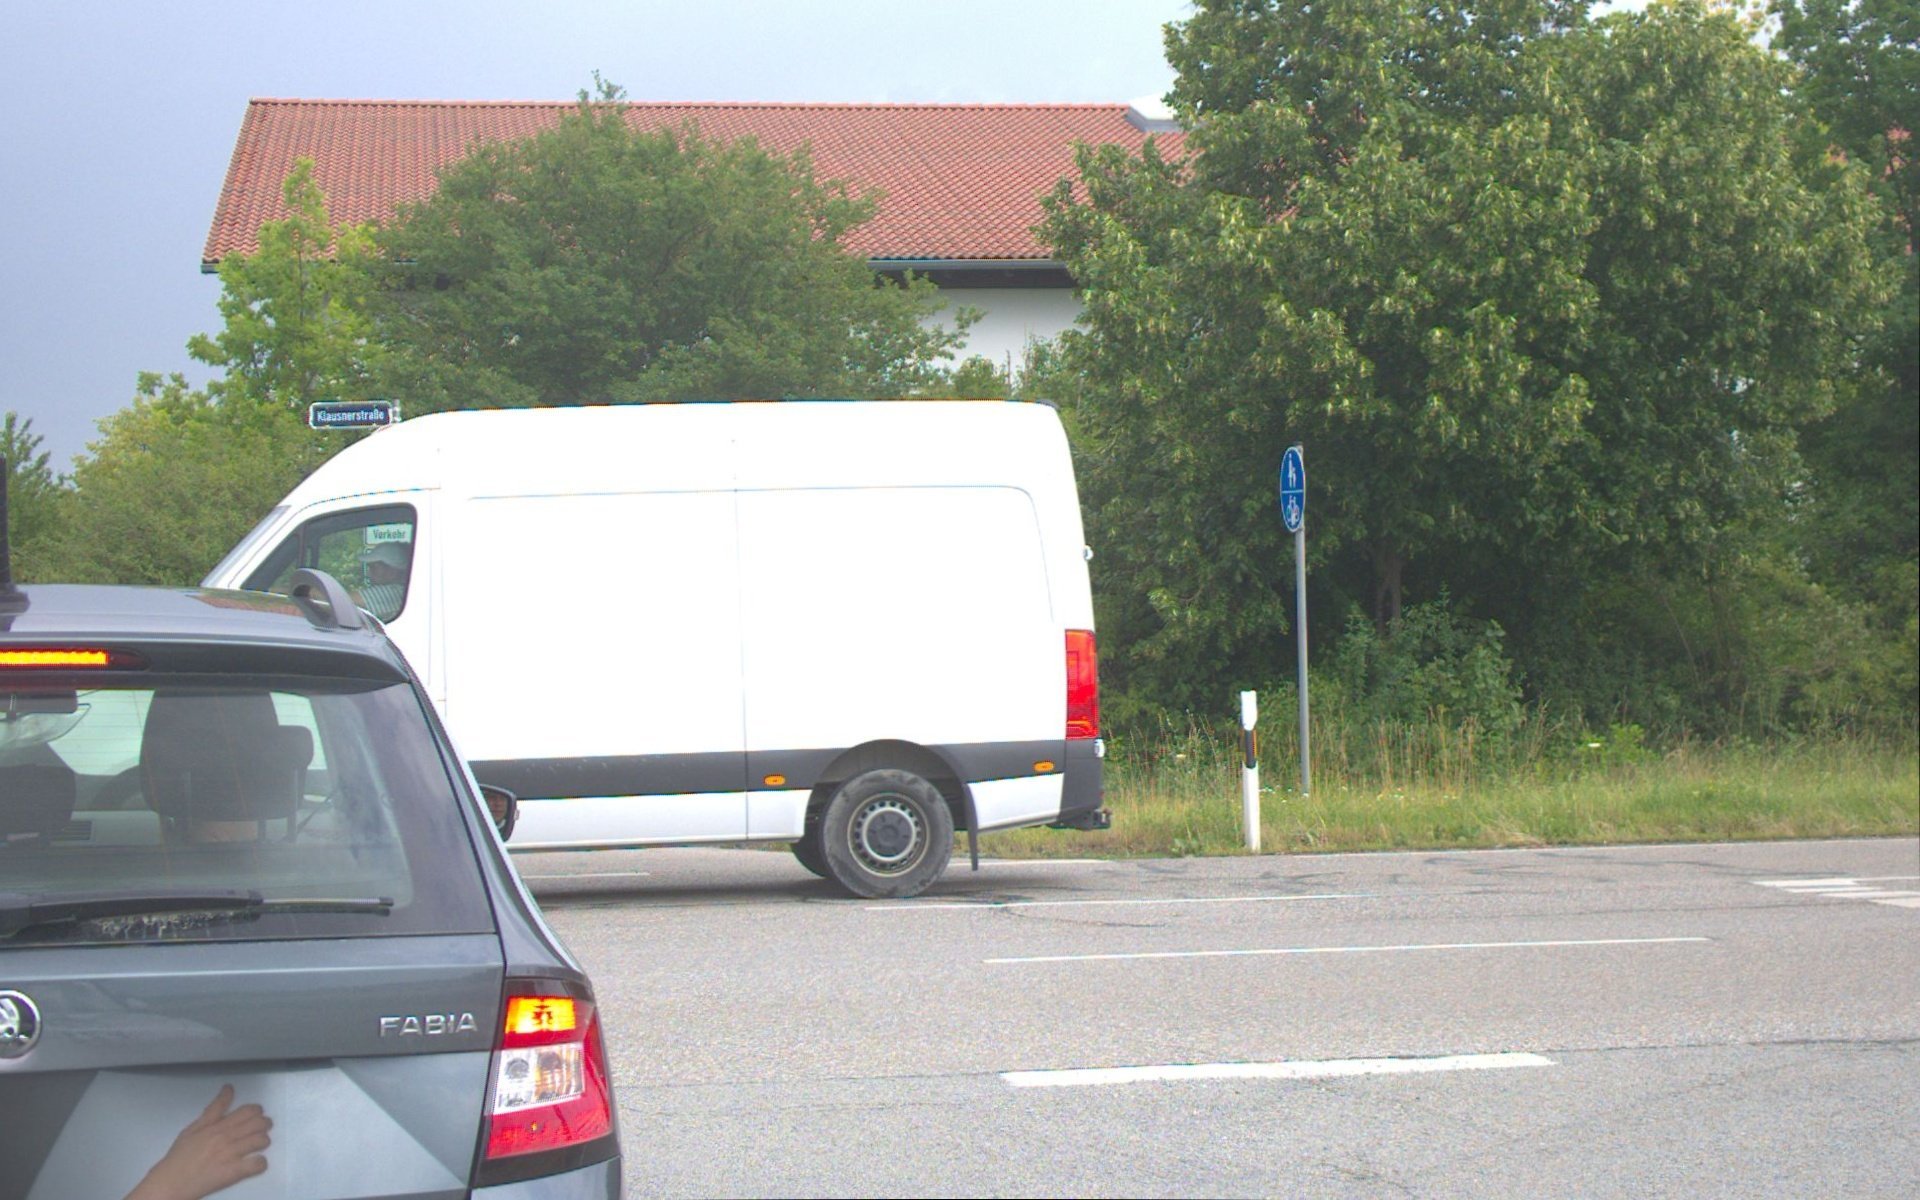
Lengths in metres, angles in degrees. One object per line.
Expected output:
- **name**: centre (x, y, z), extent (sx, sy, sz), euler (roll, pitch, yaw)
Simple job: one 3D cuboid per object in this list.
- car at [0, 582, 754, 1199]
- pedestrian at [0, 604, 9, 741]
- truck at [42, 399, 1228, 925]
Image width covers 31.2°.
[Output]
- **car**: centre (-1.566, 0.727, 5.543), extent (1.676, 1.458, 3.708), euler (0, 0, -16)
- **pedestrian**: centre (-12.113, 0.905, 42.175), extent (0.584, 1.677, 0.565), euler (-1, 1, 18)
- **truck**: centre (-1.741, 0.290, 18.526), extent (5.995, 2.567, 2.000), euler (-1, -1, -9)
